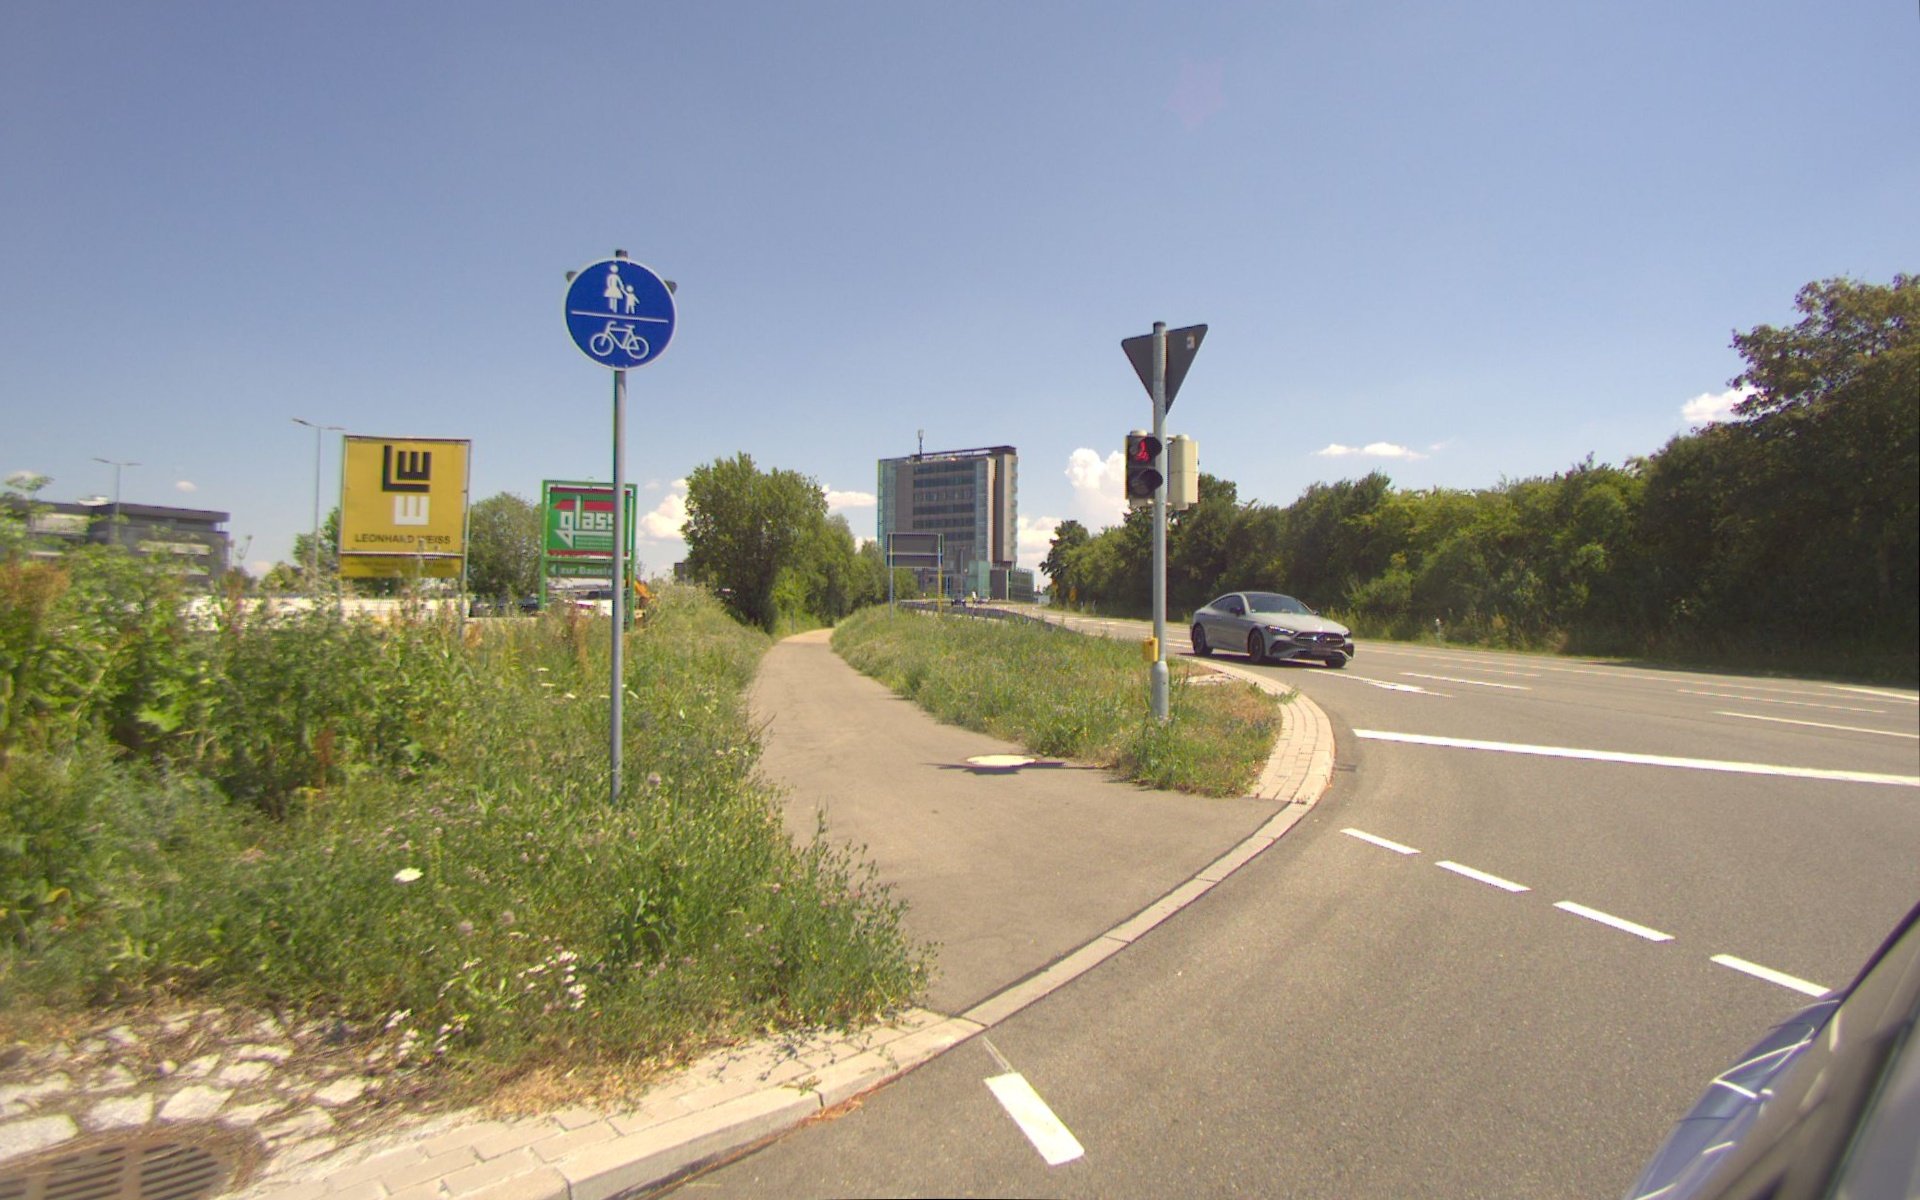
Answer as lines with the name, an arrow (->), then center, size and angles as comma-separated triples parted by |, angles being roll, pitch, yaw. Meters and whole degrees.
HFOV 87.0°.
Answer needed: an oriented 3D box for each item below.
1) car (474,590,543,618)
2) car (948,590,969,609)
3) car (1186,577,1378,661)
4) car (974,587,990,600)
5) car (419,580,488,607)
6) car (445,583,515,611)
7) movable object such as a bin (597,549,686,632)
car -> -29.445, 0.231, 66.162 | 1.974, 1.660, 3.978 | 3, 1, 18
car -> -0.191, -0.054, 115.218 | 1.960, 2.038, 4.005 | 2, 1, -5
car -> 6.451, 0.401, 20.879 | 1.883, 1.461, 4.487 | 3, -2, -9
car -> 3.498, -1.042, 160.720 | 1.966, 2.038, 3.993 | 2, 1, 7
car -> -34.209, -0.468, 68.450 | 1.974, 1.660, 3.978 | 3, 1, 18
car -> -31.653, -0.223, 66.806 | 1.974, 1.660, 3.978 | 3, 1, 18
movable object such as a bin -> -17.291, -0.611, 55.522 | 2.928, 4.095, 8.116 | 2, 1, -5
